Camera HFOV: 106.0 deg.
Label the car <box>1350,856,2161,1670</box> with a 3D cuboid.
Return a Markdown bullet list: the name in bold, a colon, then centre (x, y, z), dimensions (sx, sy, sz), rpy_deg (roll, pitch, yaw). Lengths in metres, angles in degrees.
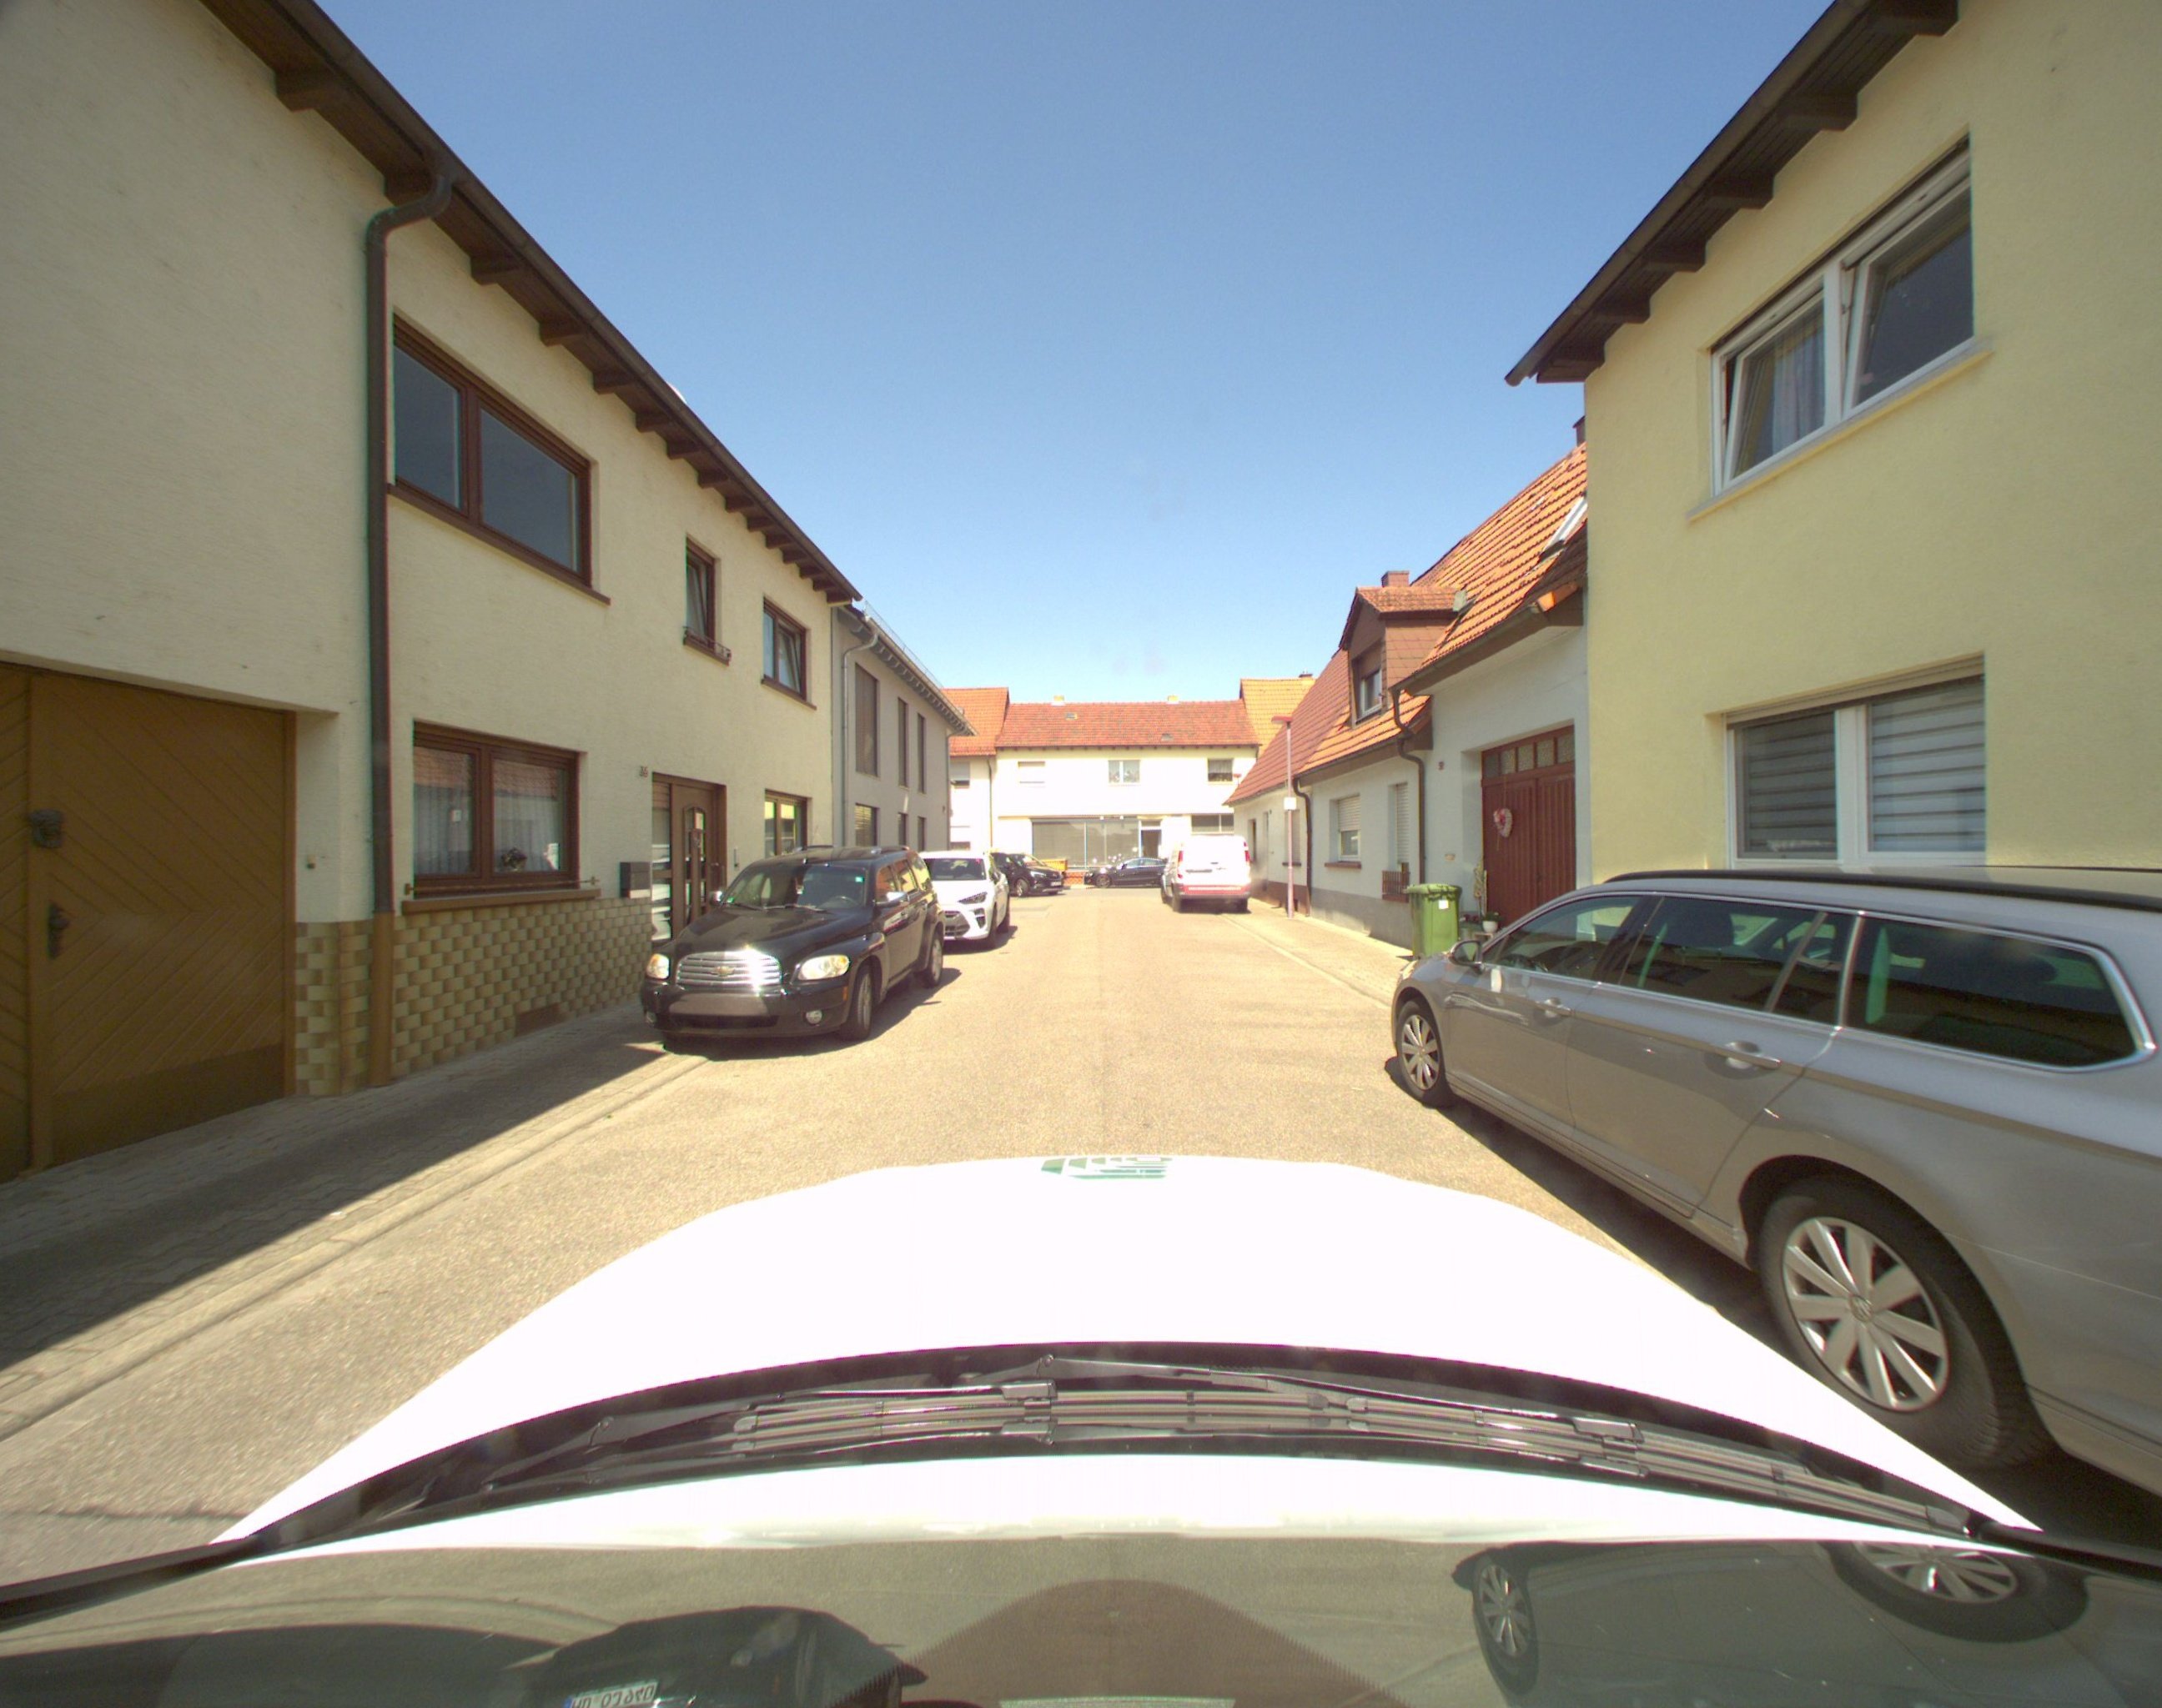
- **car**: centre (2.856, 0.735, 3.530), dimensions (1.832, 1.448, 4.775), rpy_deg (0, 0, 0)

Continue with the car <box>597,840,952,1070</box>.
- **car**: centre (-2.545, 0.736, 7.899), dimensions (1.715, 1.615, 3.992), rpy_deg (-2, 0, 3)

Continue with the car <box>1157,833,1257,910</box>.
- **car**: centre (3.259, 0.418, 22.082), dimensions (2.005, 1.839, 5.266), rpy_deg (0, 0, 1)

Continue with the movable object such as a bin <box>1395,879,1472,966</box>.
- **movable object such as a bin**: centre (4.661, 0.887, 10.814), dimensions (0.656, 1.071, 0.813), rpy_deg (-1, 0, -1)

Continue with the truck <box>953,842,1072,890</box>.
- **truck**: centre (-2.975, 0.521, 36.400), dimensions (5.045, 2.014, 2.190), rpy_deg (-1, -1, 1)

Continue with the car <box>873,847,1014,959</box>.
- **car**: centre (-2.234, 0.731, 14.367), dimensions (1.769, 1.615, 4.347), rpy_deg (-2, 0, -1)

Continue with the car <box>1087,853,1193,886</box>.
- **car**: centre (2.570, 0.717, 36.422), dimensions (4.602, 1.394, 1.927), rpy_deg (-1, -3, -1)

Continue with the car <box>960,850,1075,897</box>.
- **car**: centre (-2.416, 0.729, 30.457), dimensions (4.225, 1.583, 1.773), rpy_deg (-2, 0, 40)
